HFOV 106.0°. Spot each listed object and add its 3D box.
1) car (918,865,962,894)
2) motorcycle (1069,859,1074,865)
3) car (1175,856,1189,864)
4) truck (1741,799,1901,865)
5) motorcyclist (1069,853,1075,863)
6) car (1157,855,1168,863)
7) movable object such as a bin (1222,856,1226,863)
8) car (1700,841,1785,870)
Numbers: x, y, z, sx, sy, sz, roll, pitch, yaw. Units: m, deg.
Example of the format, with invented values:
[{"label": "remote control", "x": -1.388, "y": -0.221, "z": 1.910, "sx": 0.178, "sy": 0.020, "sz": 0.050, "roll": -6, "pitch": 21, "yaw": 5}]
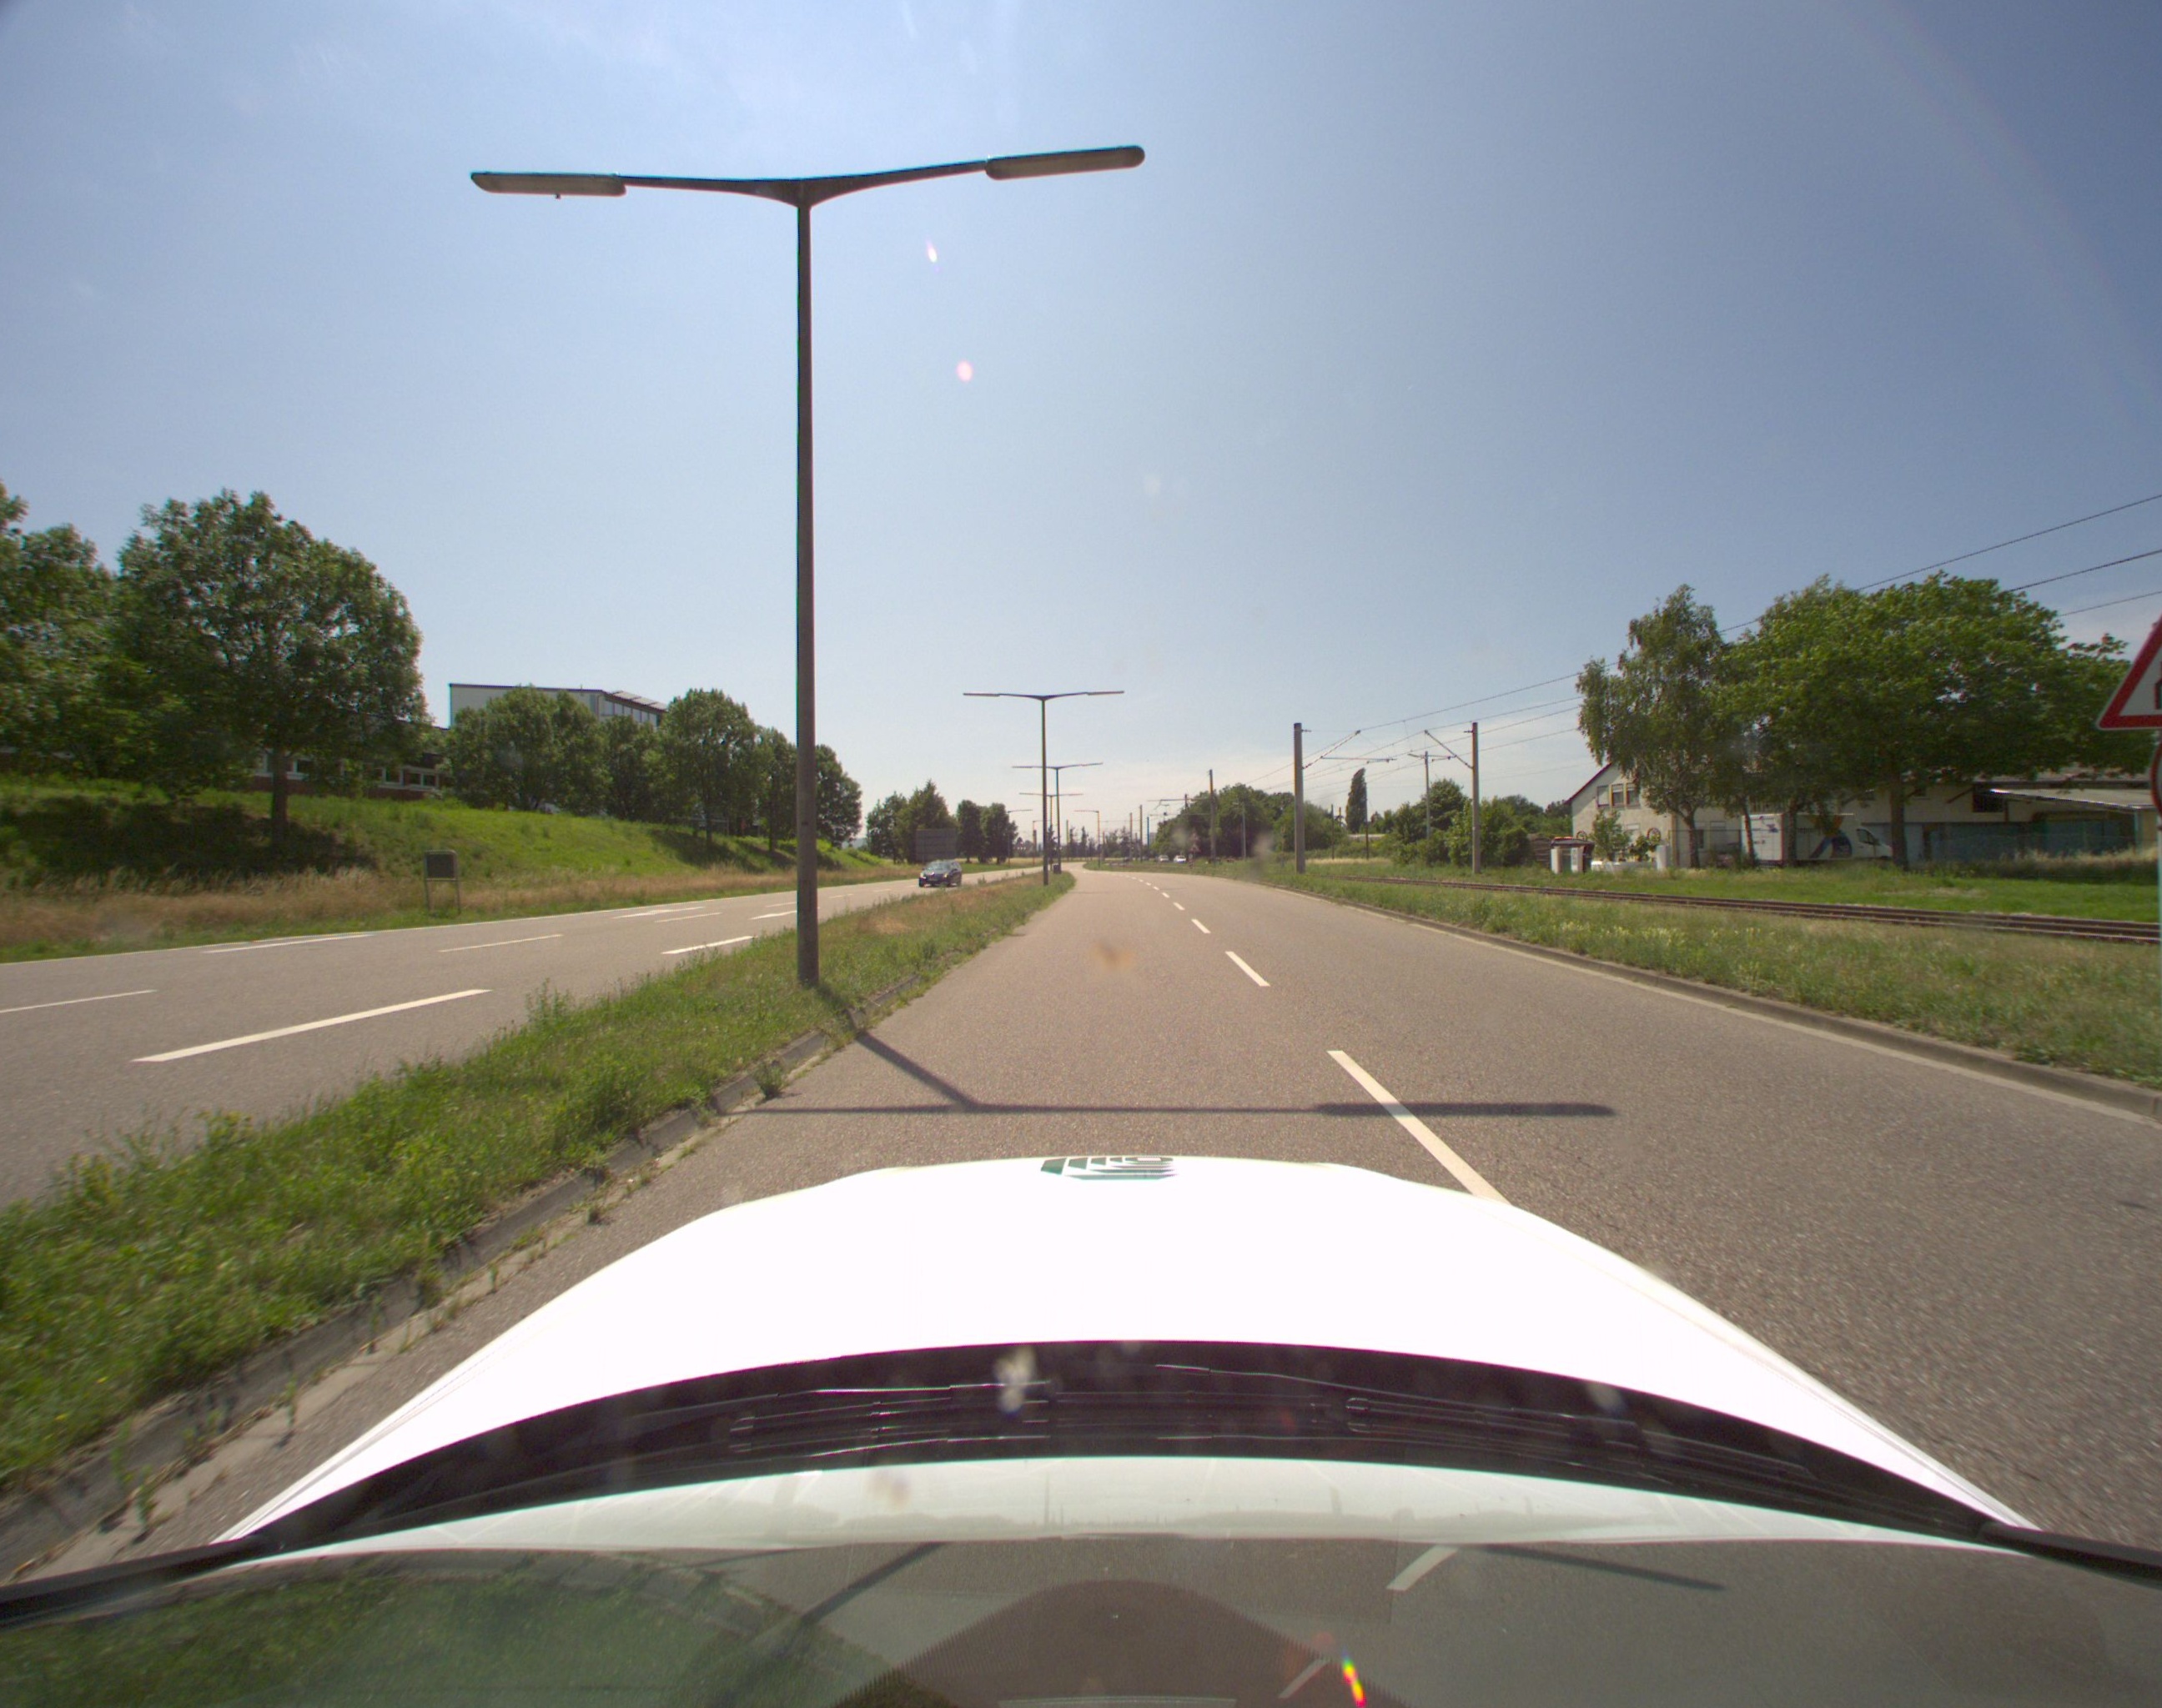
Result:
[{"label": "car", "x": -7.874, "y": 1.413, "z": 45.846, "sx": 1.686, "sy": 1.492, "sz": 4.000, "roll": -1, "pitch": 0, "yaw": 1}, {"label": "motorcycle", "x": -2.344, "y": 2.129, "z": 210.214, "sx": 0.985, "sy": 1.581, "sz": 3.404, "roll": 1, "pitch": -1, "yaw": 4}, {"label": "car", "x": 16.334, "y": 0.924, "z": 131.960, "sx": 1.560, "sy": 1.179, "sz": 3.074, "roll": -1, "pitch": 0, "yaw": -5}, {"label": "truck", "x": 35.167, "y": -1.002, "z": 38.778, "sx": 5.834, "sy": 2.843, "sz": 2.315, "roll": -2, "pitch": -1, "yaw": -7}, {"label": "motorcyclist", "x": -2.295, "y": 1.053, "z": 210.272, "sx": 1.225, "sy": 2.351, "sz": 1.108, "roll": 1, "pitch": -1, "yaw": 4}, {"label": "car", "x": 15.562, "y": 0.984, "z": 155.563, "sx": 1.668, "sy": 1.397, "sz": 3.646, "roll": 1, "pitch": -1, "yaw": -3}, {"label": "movable object such as a bin", "x": 22.123, "y": 0.912, "z": 125.890, "sx": 0.522, "sy": 1.050, "sz": 0.500, "roll": -1, "pitch": -1, "yaw": 8}, {"label": "car", "x": 35.861, "y": 0.081, "z": 44.187, "sx": 3.432, "sy": 1.510, "sz": 1.678, "roll": -1, "pitch": 0, "yaw": -9}]
